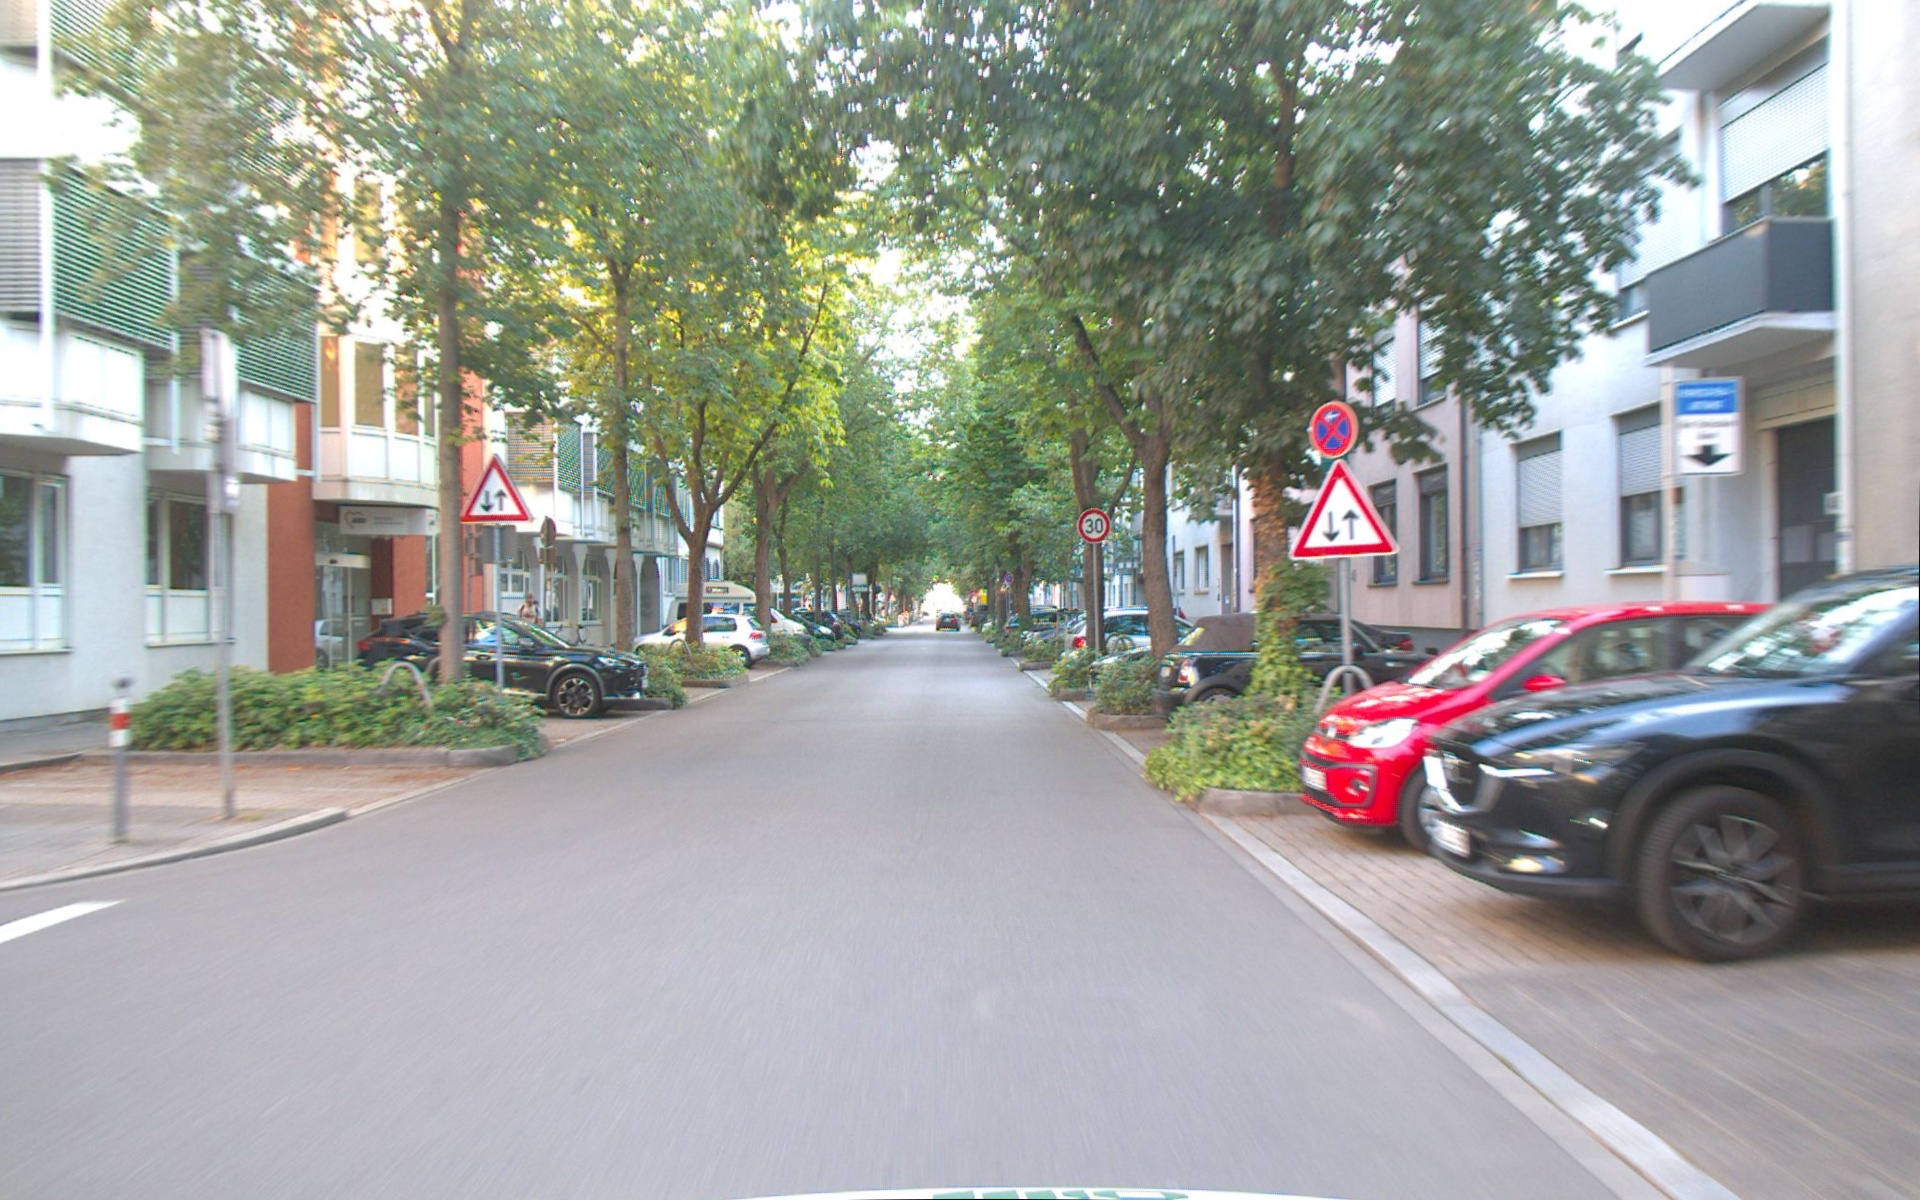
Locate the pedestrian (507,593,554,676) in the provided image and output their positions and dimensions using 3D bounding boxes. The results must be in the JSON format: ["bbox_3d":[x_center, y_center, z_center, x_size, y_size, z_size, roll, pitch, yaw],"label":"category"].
[{"bbox_3d":[-9.361,0.748,36.053,0.689,1.788,0.739,0,-1,23],"label":"pedestrian"}]

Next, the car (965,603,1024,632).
[{"bbox_3d":[2.490,1.272,120.495,4.181,1.996,1.962,-2,-1,-1],"label":"car"}]

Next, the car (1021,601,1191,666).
[{"bbox_3d":[4.022,0.908,46.199,4.620,1.740,1.950,0,0,1],"label":"car"}]

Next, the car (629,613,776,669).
[{"bbox_3d":[-7.158,1.122,46.195,3.790,1.512,1.757,0,0,1],"label":"car"}]

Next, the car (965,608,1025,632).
[{"bbox_3d":[2.458,1.424,117.657,4.181,1.593,1.962,-2,-1,-1],"label":"car"}]

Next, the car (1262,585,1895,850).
[{"bbox_3d":[3.912,0.698,10.904,3.414,1.478,1.898,-2,0,-3],"label":"car"}]

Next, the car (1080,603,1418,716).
[{"bbox_3d":[4.173,0.839,24.490,4.615,1.446,2.035,-2,0,-1],"label":"car"}]

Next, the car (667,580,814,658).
[{"bbox_3d":[-7.193,0.618,54.545,4.587,2.521,2.000,0,-1,-1],"label":"car"}]

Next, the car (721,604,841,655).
[{"bbox_3d":[-7.226,1.187,66.990,4.587,1.886,1.962,-2,-1,-1],"label":"car"}]

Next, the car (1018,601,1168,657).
[{"bbox_3d":[4.192,0.915,52.667,4.587,1.548,1.962,-2,-1,-1],"label":"car"}]

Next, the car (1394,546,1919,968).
[{"bbox_3d":[4.431,0.610,7.661,4.334,1.685,1.900,-1,0,1],"label":"car"}]

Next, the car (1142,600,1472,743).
[{"bbox_3d":[3.989,0.797,19.425,3.414,1.478,1.898,-2,0,-3],"label":"car"}]

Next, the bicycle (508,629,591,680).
[{"bbox_3d":[-8.759,1.155,35.283,1.757,1.047,0.500,0,-1,22],"label":"bicycle"}]

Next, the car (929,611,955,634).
[{"bbox_3d":[-1.343,1.682,124.989,1.917,1.593,4.282,-2,-1,0],"label":"car"}]

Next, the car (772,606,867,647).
[{"bbox_3d":[-6.969,1.308,82.409,4.502,1.839,1.962,-2,-1,-1],"label":"car"}]

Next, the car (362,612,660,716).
[{"bbox_3d":[-6.784,0.950,25.331,4.043,1.512,1.929,0,0,-2],"label":"car"}]

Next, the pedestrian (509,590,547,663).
[{"bbox_3d":[-10.541,0.637,40.419,0.689,1.758,0.905,0,-1,-1],"label":"pedestrian"}]

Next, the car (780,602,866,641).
[{"bbox_3d":[-7.766,1.225,93.854,4.665,2.019,1.962,-2,-1,-1],"label":"car"}]

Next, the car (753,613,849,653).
[{"bbox_3d":[-7.162,1.481,74.710,4.117,1.664,1.962,-2,-1,-1],"label":"car"}]

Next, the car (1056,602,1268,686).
[{"bbox_3d":[3.887,0.829,32.287,3.800,1.465,1.846,-2,0,-4],"label":"car"}]

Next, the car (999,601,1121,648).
[{"bbox_3d":[3.722,0.908,61.573,4.414,1.548,1.996,-2,-1,3],"label":"car"}]
